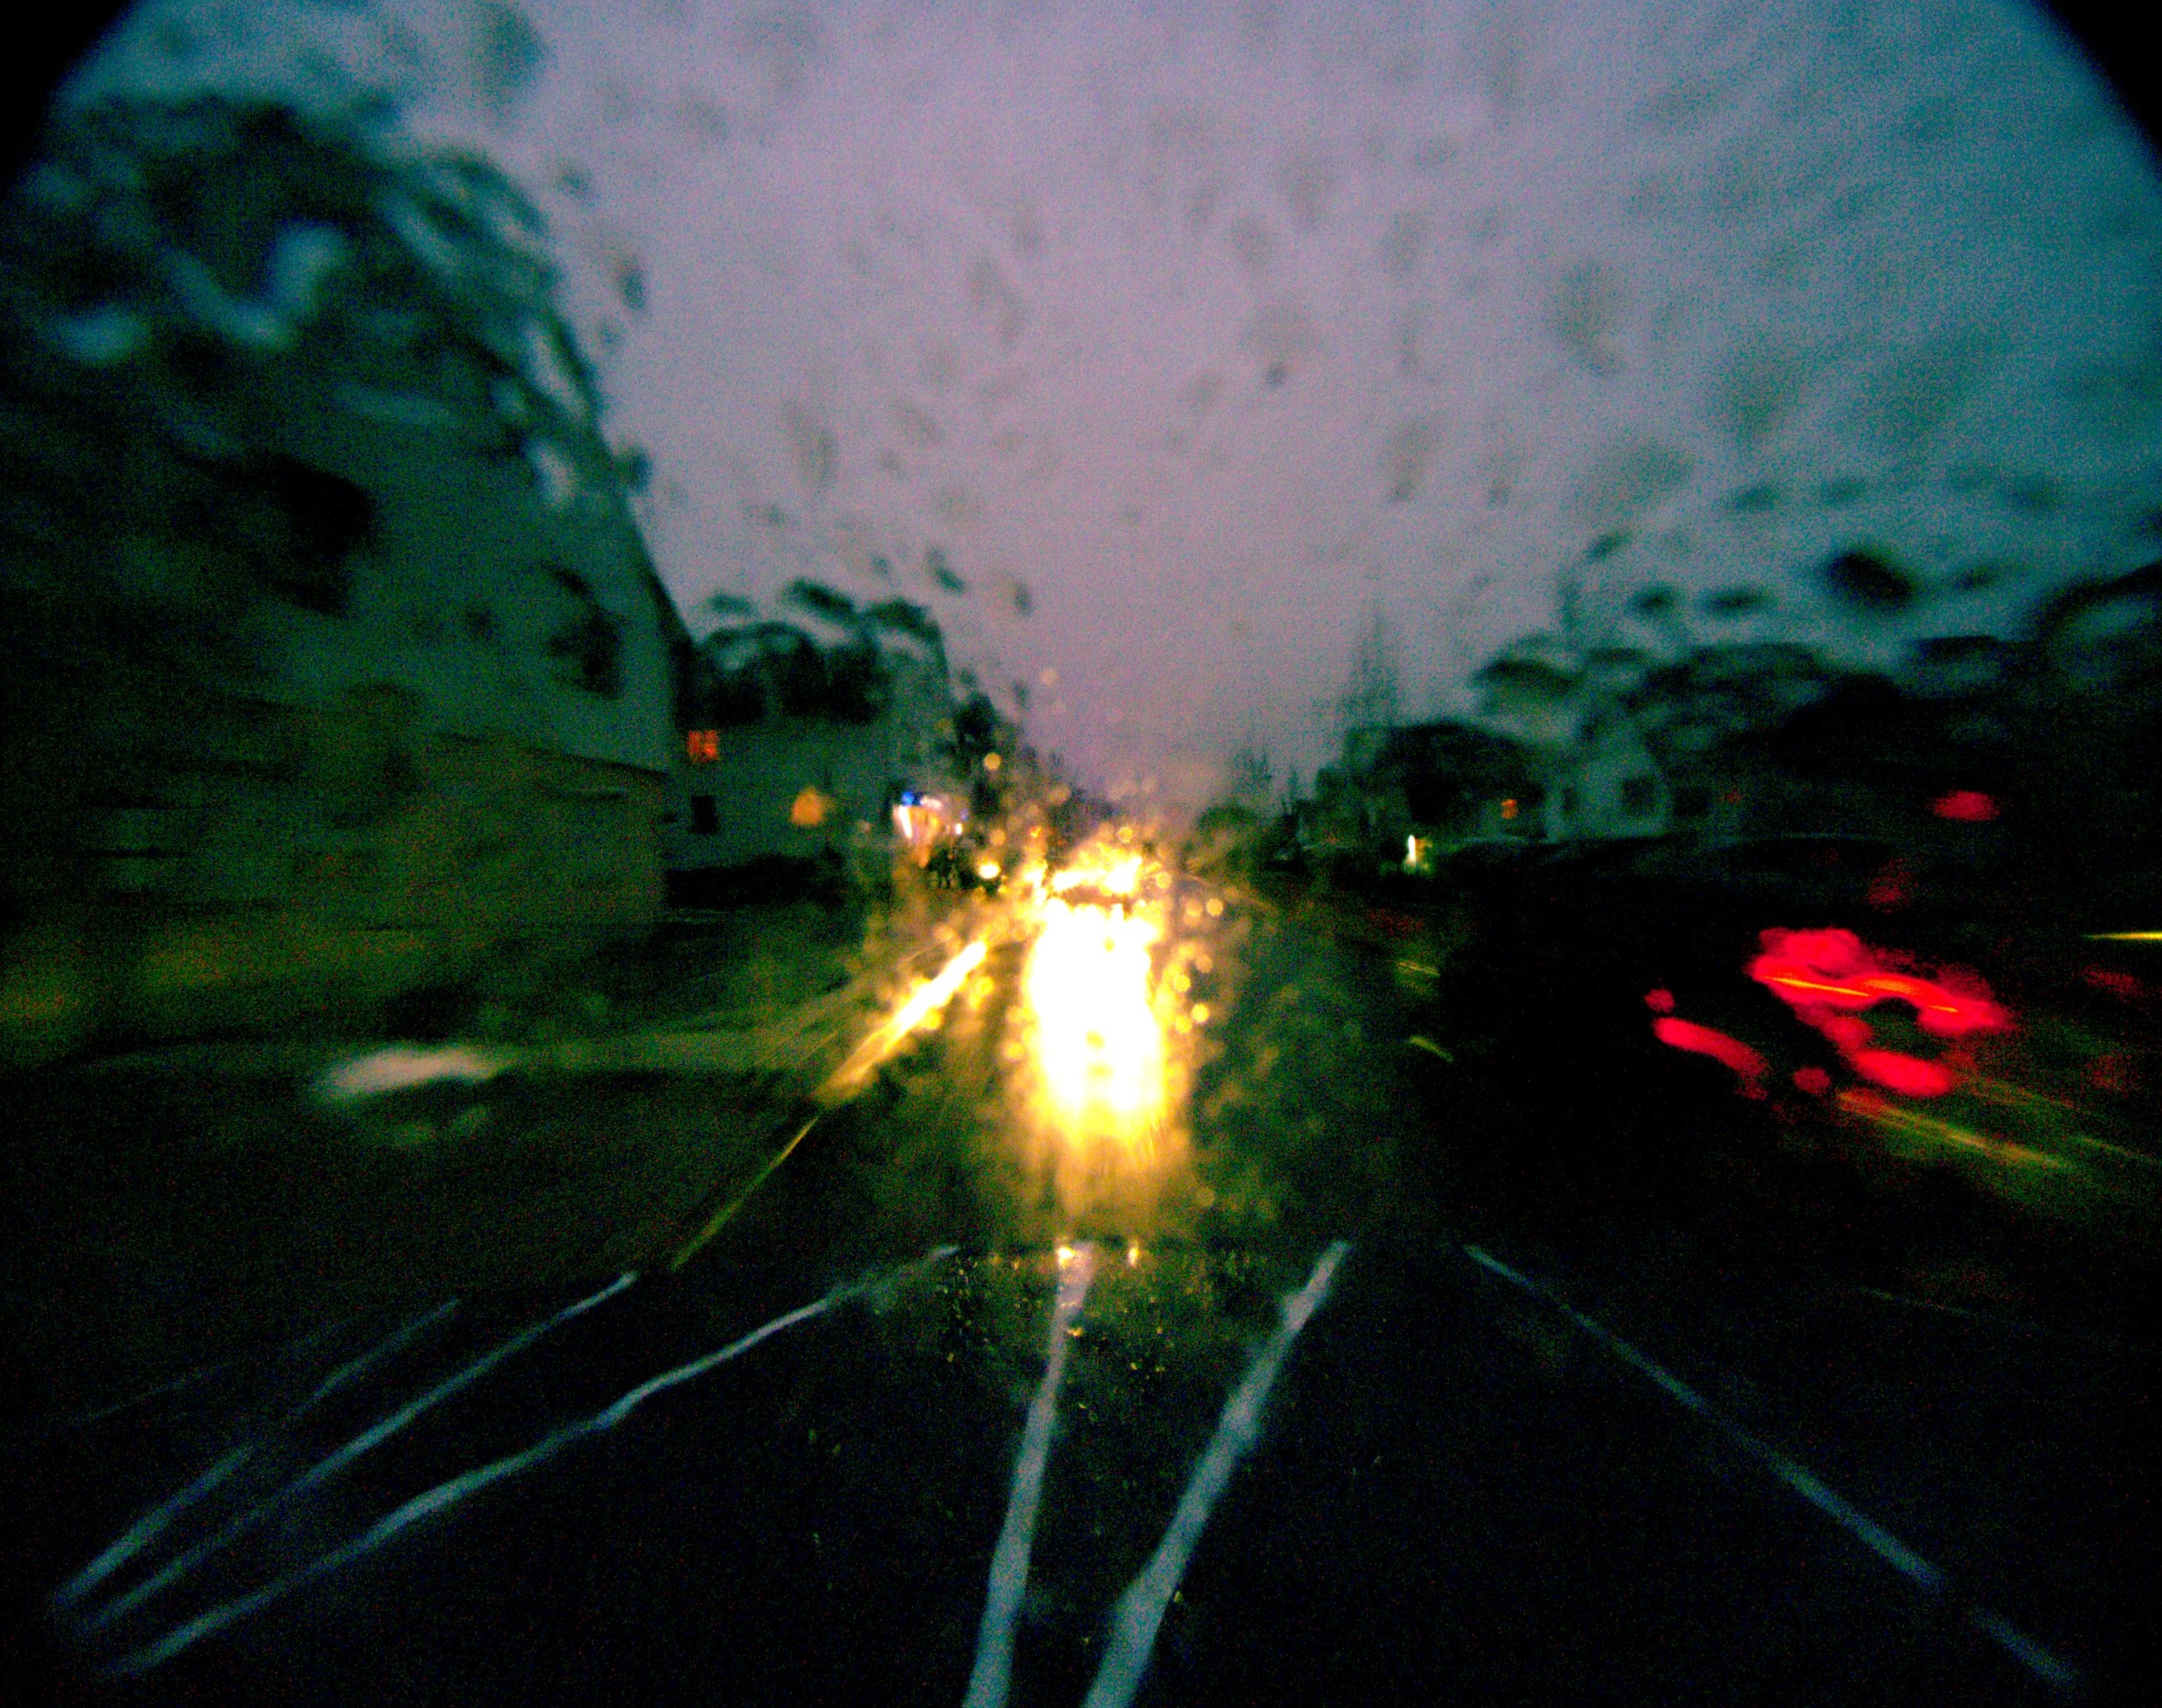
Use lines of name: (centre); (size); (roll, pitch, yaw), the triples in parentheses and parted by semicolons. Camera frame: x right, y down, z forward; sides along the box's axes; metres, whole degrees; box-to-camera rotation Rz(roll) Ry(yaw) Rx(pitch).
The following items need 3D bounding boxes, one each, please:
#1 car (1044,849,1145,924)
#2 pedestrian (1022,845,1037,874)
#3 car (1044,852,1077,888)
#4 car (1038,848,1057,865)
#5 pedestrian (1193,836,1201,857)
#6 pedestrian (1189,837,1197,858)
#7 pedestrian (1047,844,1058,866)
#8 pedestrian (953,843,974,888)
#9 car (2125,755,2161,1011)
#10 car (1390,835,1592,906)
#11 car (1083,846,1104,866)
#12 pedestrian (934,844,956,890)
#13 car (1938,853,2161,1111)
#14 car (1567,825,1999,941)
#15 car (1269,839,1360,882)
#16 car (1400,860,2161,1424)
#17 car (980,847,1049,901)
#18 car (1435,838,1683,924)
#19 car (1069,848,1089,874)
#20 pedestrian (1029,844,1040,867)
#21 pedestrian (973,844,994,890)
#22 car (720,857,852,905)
car: (0.490, 0.724, 19.828); (2.269, 1.633, 5.066); (-1, 1, 4)
pedestrian: (-3.206, 0.340, 47.523); (0.819, 1.754, 1.060); (0, 1, 1)
car: (-1.165, 0.911, 44.806); (1.748, 2.002, 3.808); (1, 0, 1)
car: (-3.642, 0.266, 82.137); (1.781, 1.805, 3.997); (0, 0, -7)
pedestrian: (11.281, -0.682, 73.731); (0.666, 2.020, 0.548); (-2, 1, -1)
pedestrian: (10.801, -0.643, 73.091); (0.674, 2.002, 0.604); (-2, 1, 1)
pedestrian: (-2.092, 0.101, 55.342); (0.731, 1.596, 0.723); (0, 1, 4)
pedestrian: (-4.651, 0.451, 30.092); (0.649, 1.786, 0.508); (1, 0, 13)
car: (9.050, 0.184, 4.097); (3.996, 1.674, 2.000); (0, 1, 1)
car: (10.837, 0.415, 20.323); (4.424, 1.791, 1.845); (0, 1, 1)
car: (1.229, 0.190, 75.773); (1.865, 2.002, 3.843); (0, 0, -2)
pedestrian: (-5.045, 0.479, 28.294); (0.609, 1.711, 0.651); (1, 0, 7)
car: (10.178, 1.007, 6.316); (4.038, 1.940, 1.750); (1, 0, 1)
car: (10.810, 0.439, 12.058); (4.876, 1.674, 2.001); (0, 0, 4)
car: (11.139, 0.294, 36.444); (3.804, 1.940, 1.750); (1, 0, 1)
car: (3.262, 0.795, 3.947); (1.623, 1.471, 3.838); (1, 0, 1)
car: (-2.305, 0.650, 27.644); (1.998, 1.774, 4.520); (0, 0, 1)
car: (10.835, 0.586, 17.482); (4.513, 1.856, 1.868); (0, 1, 1)
car: (-0.147, 0.550, 62.519); (1.531, 2.002, 4.000); (0, 0, 2)
pedestrian: (-3.274, 0.128, 53.847); (0.656, 1.596, 0.723); (0, 1, 4)
pedestrian: (-3.675, 0.497, 28.709); (0.649, 1.711, 0.469); (1, 0, 8)
car: (-9.266, 0.809, 23.981); (3.555, 1.378, 1.662); (1, 1, 13)
